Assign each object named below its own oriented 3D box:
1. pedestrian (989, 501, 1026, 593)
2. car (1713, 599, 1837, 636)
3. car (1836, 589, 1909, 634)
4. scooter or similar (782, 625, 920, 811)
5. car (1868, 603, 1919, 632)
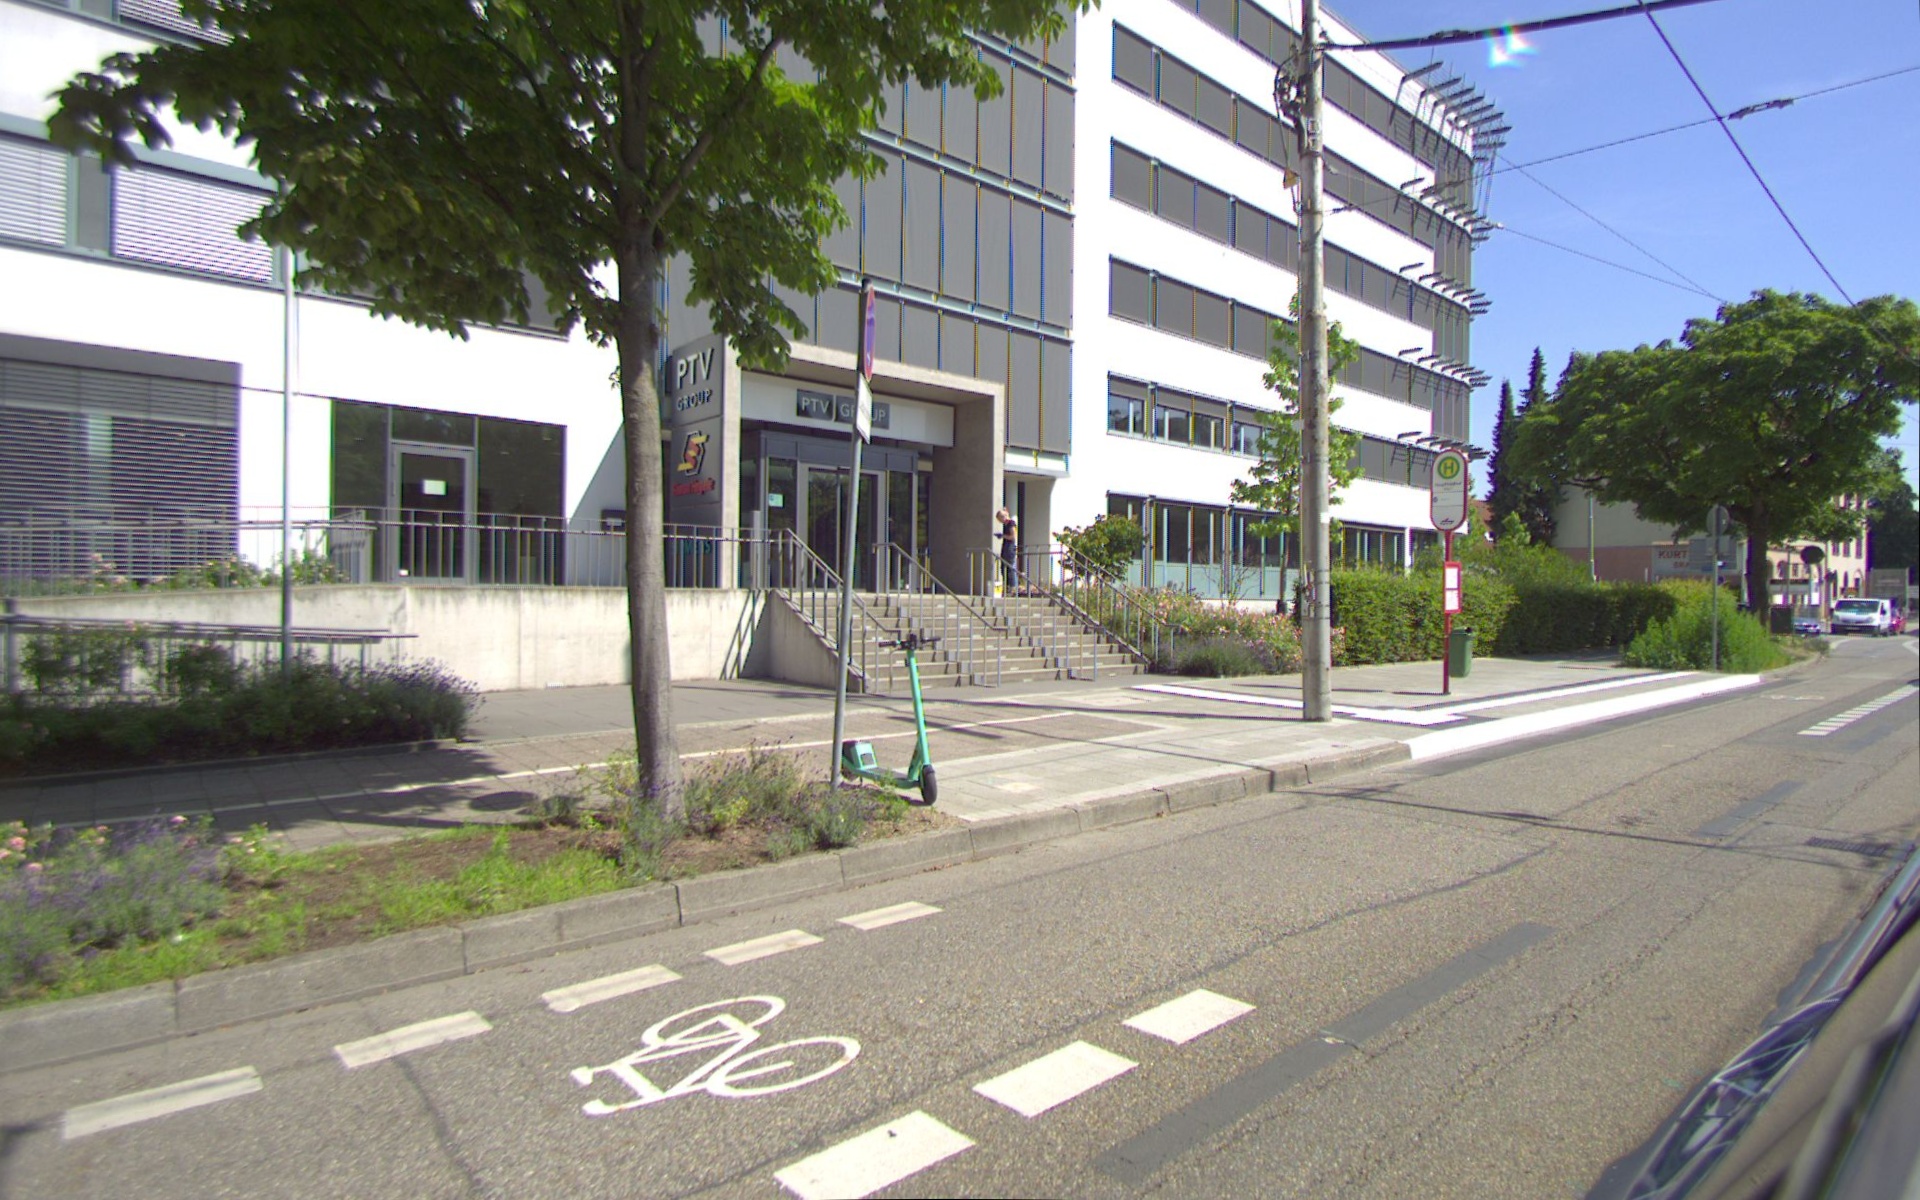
[{"bbox_3d":[0.917,-1.008,19.540,0.537,1.750,0.499,0,0,-41],"label":"pedestrian"},{"bbox_3d":[33.528,0.688,41.707,1.641,1.405,3.753,1,0,-39],"label":"car"},{"bbox_3d":[46.515,0.540,51.551,5.099,2.080,1.981,0,2,-40],"label":"car"},{"bbox_3d":[-0.794,0.781,7.168,0.483,1.169,1.146,1,0,-34],"label":"scooter or similar"},{"bbox_3d":[51.481,0.934,55.659,4.236,1.461,1.726,0,2,-40],"label":"car"}]
